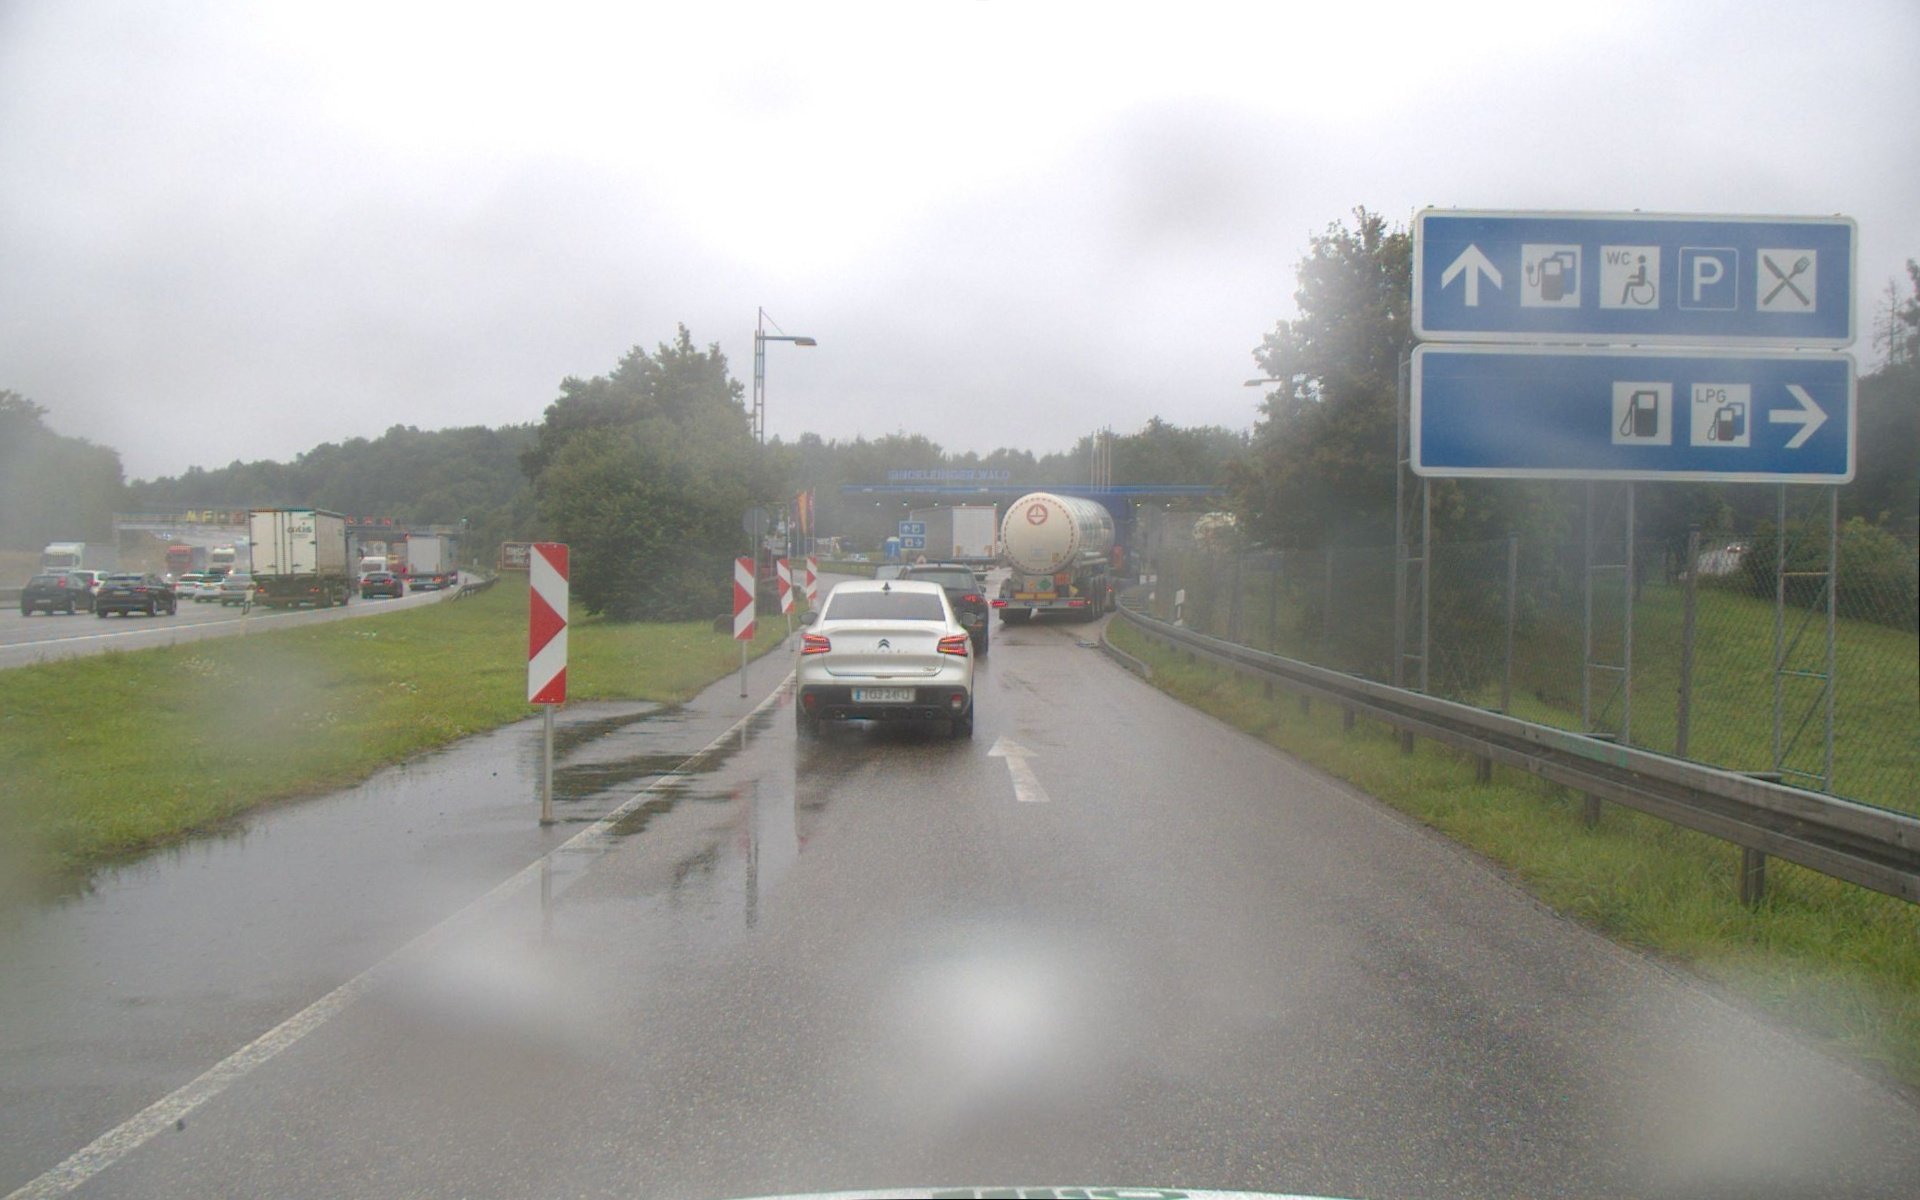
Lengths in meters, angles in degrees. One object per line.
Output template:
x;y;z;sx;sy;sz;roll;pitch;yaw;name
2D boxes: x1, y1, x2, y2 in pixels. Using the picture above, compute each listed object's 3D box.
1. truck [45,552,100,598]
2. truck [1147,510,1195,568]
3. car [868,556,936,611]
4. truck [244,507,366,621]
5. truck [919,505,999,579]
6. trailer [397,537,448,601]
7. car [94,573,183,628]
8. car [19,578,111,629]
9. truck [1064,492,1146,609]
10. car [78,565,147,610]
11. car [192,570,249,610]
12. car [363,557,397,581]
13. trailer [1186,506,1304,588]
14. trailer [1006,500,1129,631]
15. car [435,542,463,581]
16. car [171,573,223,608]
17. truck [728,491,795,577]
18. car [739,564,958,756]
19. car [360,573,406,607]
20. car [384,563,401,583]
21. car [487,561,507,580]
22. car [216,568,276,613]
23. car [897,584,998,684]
-74.912;-2.158;139.628;2.667;3.594;4.749;4;2;-12;truck
14.324;-4.169;112.479;2.378;3.871;3.996;-1;3;-6;truck
-1.710;-0.505;47.552;1.841;1.487;3.998;1;1;-4;car
-27.828;-1.426;70.852;2.800;4.367;11.805;-2;1;-12;truck
-0.215;-3.364;95.137;2.328;3.941;12.425;-1;2;-11;truck
-41.711;-2.343;128.567;3.492;4.692;12.062;-1;0;-17;trailer
-27.753;-0.009;55.961;1.744;1.766;3.836;-1;0;-12;car
-32.697;0.088;60.544;1.744;1.766;4.089;-2;1;-11;car
4.743;-1.617;53.525;2.009;3.592;4.751;1;2;13;truck
-40.616;-0.598;79.371;1.959;2.049;3.988;-1;0;-12;car
-39.384;-0.538;88.190;1.959;2.049;3.987;2;0;-13;car
-47.860;-2.573;136.503;1.957;1.847;3.990;3;0;-10;car
13.111;-2.429;75.217;2.091;3.500;10.238;1;2;29;trailer
3.221;-1.027;46.664;1.938;3.280;10.332;1;2;12;trailer
-48.881;-3.687;158.191;2.335;3.546;4.792;3;0;-17;car
-45.617;-0.580;98.979;1.959;2.049;3.987;-1;1;-13;car
-9.634;-3.179;79.783;2.863;3.972;6.302;0;2;-10;truck
-1.048;0.525;16.931;1.953;1.708;3.999;-1;0;-1;car
-32.797;-0.566;94.083;1.959;1.847;3.988;2;0;-13;car
-63.951;-3.056;186.426;1.649;2.048;3.978;7;-2;-19;car
-54.889;-3.496;196.093;1.963;2.049;3.979;3;0;-19;car
-32.914;-0.427;76.356;1.758;2.006;4.320;0;0;-13;car
-0.213;0.603;31.165;1.707;1.696;4.000;2;0;0;car
